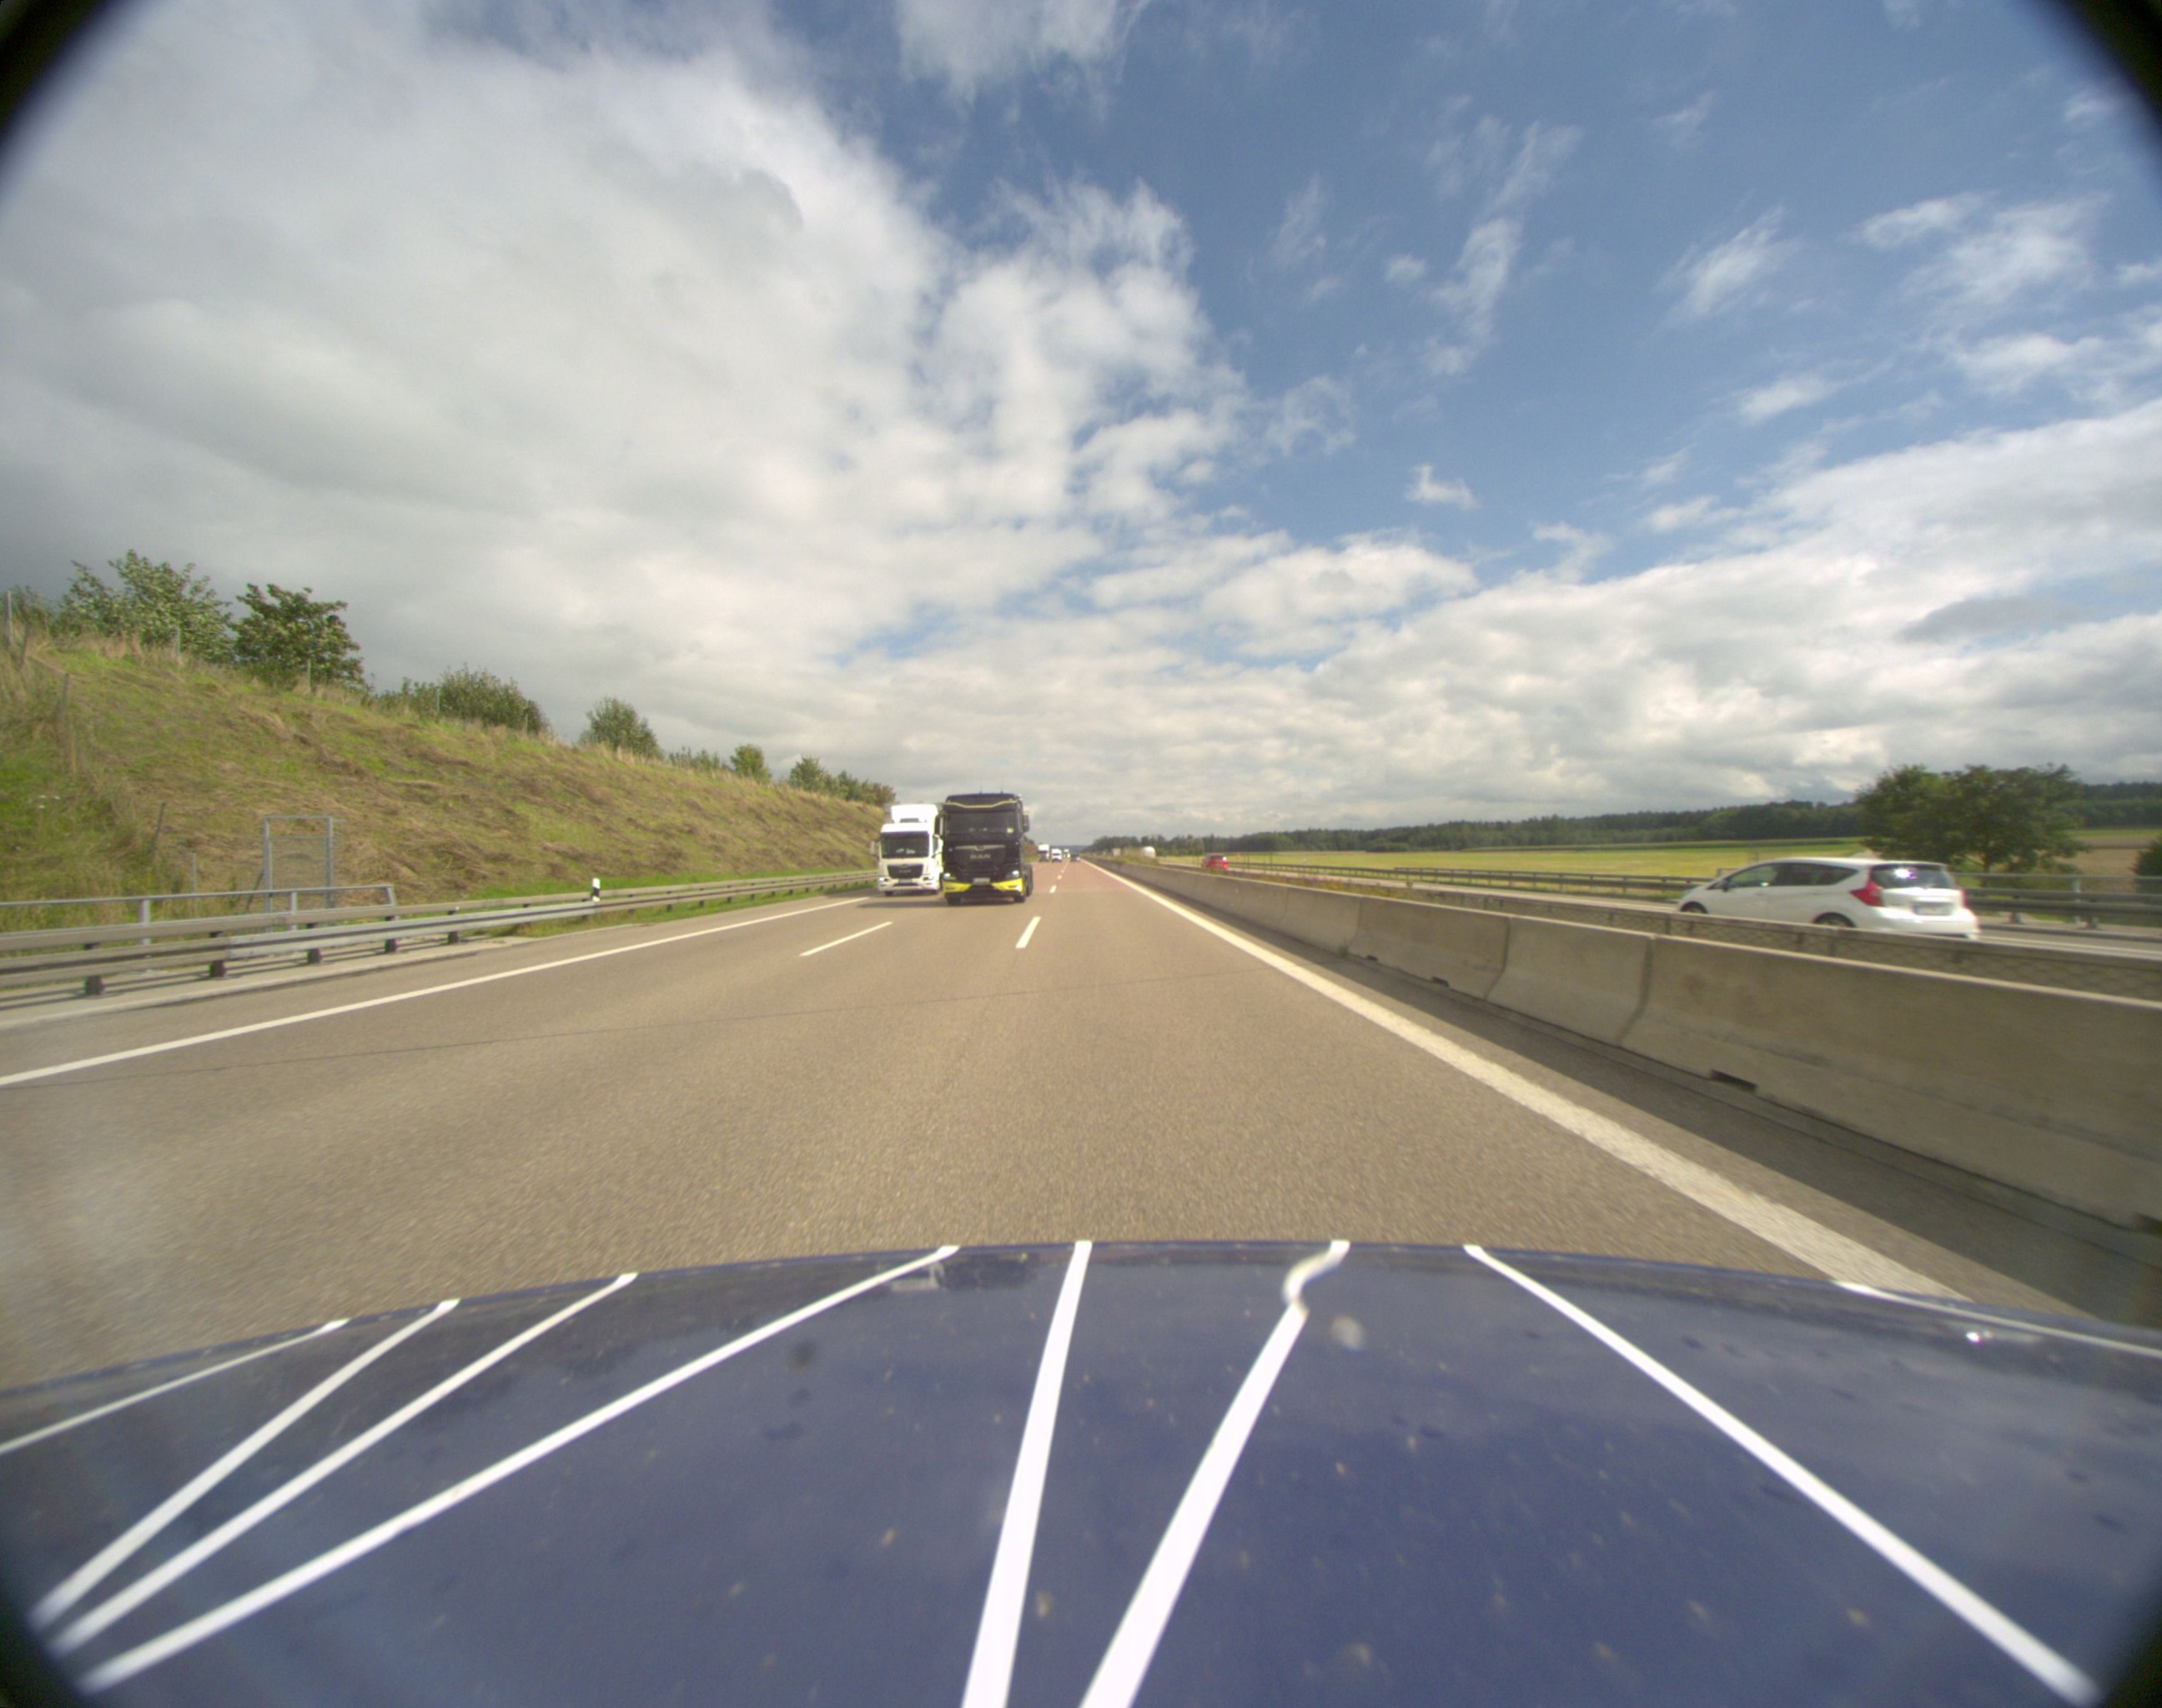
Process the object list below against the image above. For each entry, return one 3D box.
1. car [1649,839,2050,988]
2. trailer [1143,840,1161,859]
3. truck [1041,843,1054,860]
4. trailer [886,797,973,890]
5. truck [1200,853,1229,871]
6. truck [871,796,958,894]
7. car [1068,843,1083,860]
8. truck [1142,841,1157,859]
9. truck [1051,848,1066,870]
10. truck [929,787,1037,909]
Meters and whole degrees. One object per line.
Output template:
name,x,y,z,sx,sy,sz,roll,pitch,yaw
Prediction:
car,12.414,0.812,12.895,1.999,2.058,4.710,0,0,0
trailer,15.848,-0.983,170.245,2.899,4.075,11.036,1,0,0
truck,-8.158,-0.614,186.454,2.681,4.082,6.615,-2,0,-1
trailer,-7.224,-0.506,37.540,2.755,3.989,8.667,-2,1,-2
truck,12.190,0.701,69.490,1.711,1.565,4.981,1,0,-1
truck,-7.050,-0.382,32.839,2.756,3.869,4.544,-2,1,-2
car,-1.049,-0.472,156.650,2.773,3.260,6.392,-3,0,0
truck,15.887,-1.007,175.940,2.899,4.075,6.334,1,0,0
truck,-4.721,0.941,159.585,2.681,4.333,11.807,-3,0,-1
truck,-3.163,-0.219,26.782,2.855,3.529,8.316,-2,1,-2
